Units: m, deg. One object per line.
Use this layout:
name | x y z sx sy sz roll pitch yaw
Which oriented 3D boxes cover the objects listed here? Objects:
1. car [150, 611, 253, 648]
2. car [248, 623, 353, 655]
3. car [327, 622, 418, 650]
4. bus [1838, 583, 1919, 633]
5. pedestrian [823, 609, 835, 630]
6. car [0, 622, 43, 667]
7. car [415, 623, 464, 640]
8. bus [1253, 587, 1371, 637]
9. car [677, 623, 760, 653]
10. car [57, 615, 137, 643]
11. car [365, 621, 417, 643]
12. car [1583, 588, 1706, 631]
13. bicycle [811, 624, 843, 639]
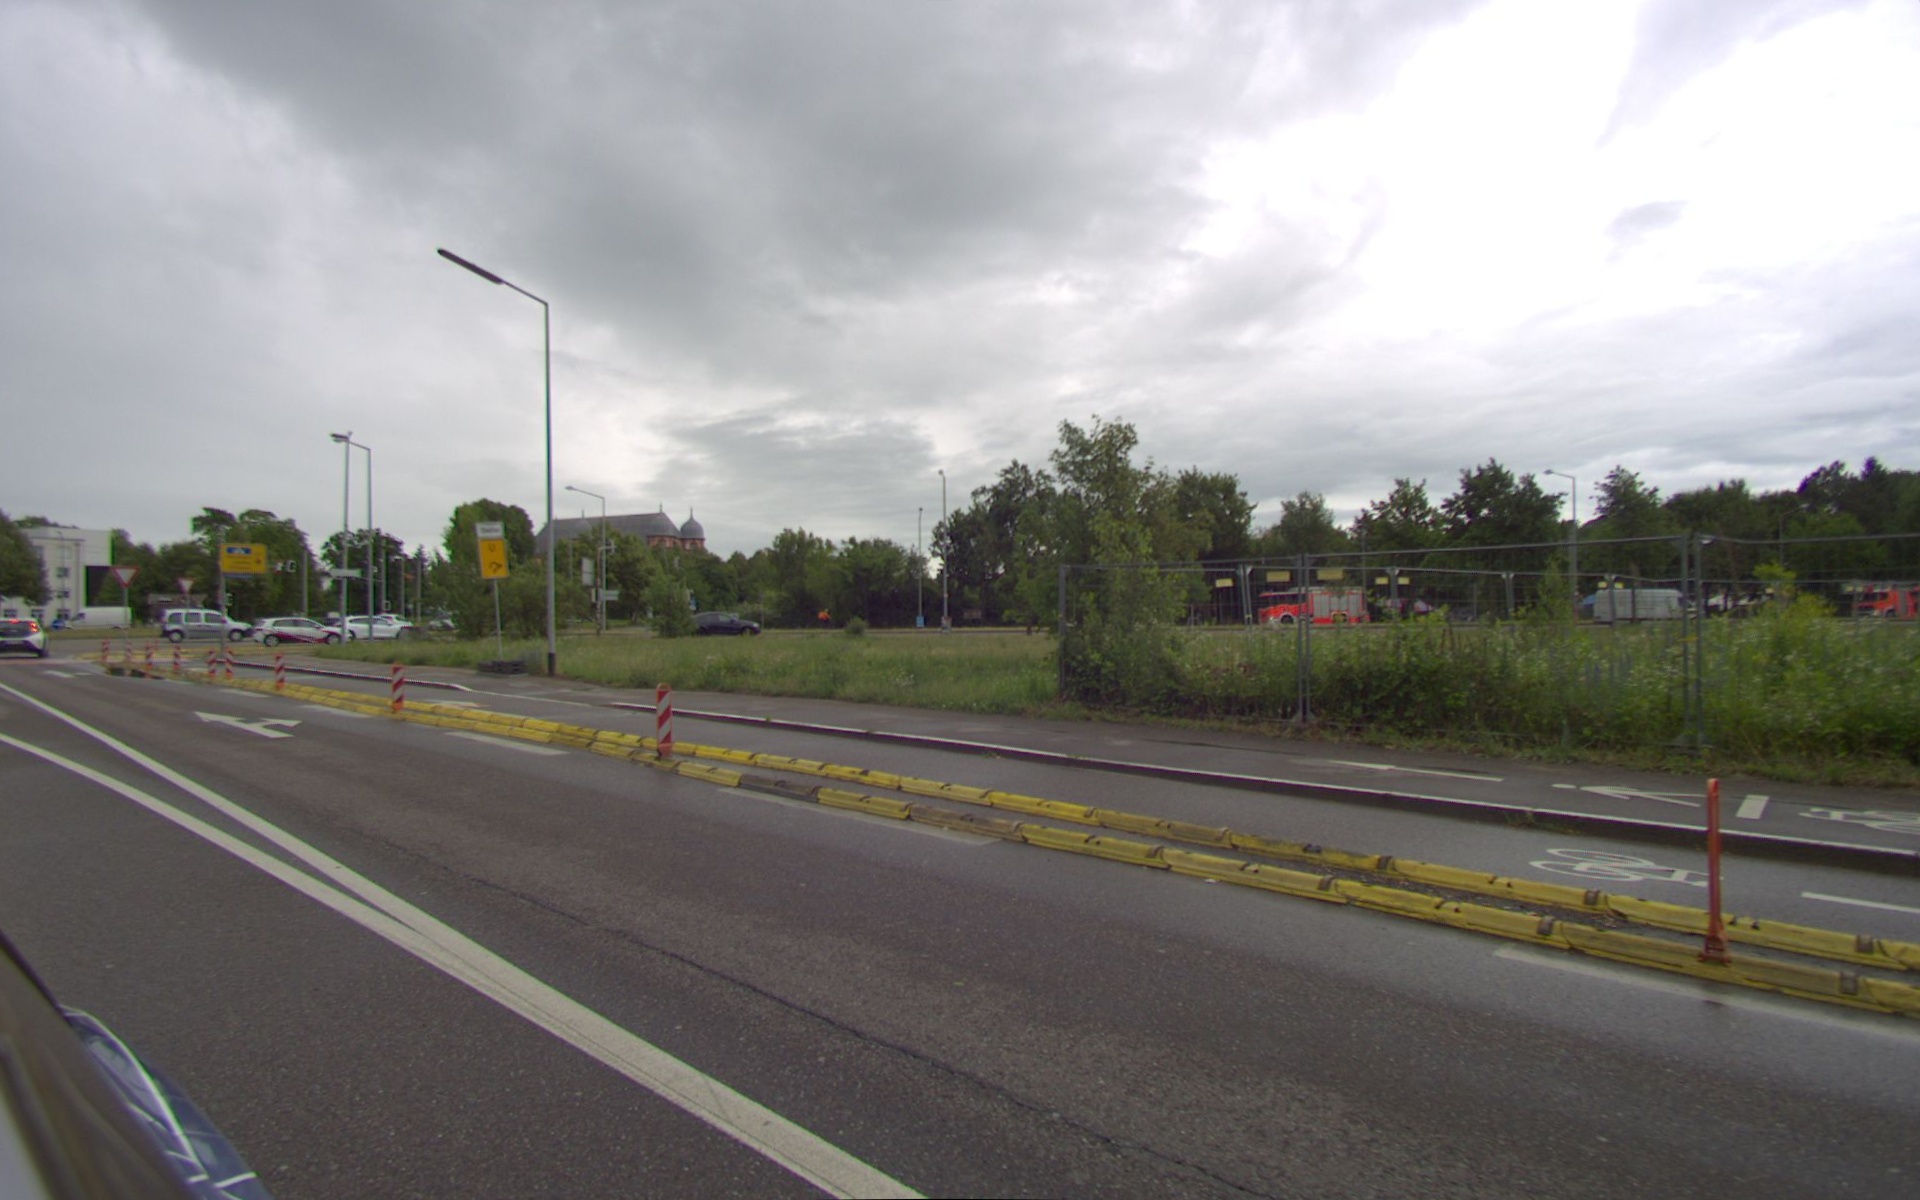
car | -41.892 1.622 55.947 4.416 1.918 1.924 0 -1 -41
car | -33.557 1.958 51.514 4.360 1.468 1.836 0 -1 -37
car | -33.288 2.002 57.385 4.400 1.468 1.927 0 -1 -32
bus | 79.773 0.633 85.314 9.735 4.012 2.738 -1 -2 -7
pedestrian | -11.284 1.707 86.990 0.959 1.784 0.749 -1 -2 -6
car | -35.870 1.640 37.991 3.900 1.599 1.732 -1 -3 42
car | -49.533 2.995 96.347 3.963 1.567 1.889 -1 -1 15
bus | 27.693 0.943 79.681 8.267 3.676 2.738 -1 -2 -7
car | -14.754 2.316 61.873 4.669 1.680 1.928 -1 -1 -25
car | -82.204 2.768 96.511 5.514 2.561 2.247 0 -1 -31
car | -40.946 2.302 72.961 1.890 1.466 4.485 -1 -1 -10
car | 45.291 0.642 67.063 6.475 2.725 2.400 -1 -2 -3
bicycle | -11.402 2.711 86.924 2.648 1.231 0.758 -1 -2 -6
